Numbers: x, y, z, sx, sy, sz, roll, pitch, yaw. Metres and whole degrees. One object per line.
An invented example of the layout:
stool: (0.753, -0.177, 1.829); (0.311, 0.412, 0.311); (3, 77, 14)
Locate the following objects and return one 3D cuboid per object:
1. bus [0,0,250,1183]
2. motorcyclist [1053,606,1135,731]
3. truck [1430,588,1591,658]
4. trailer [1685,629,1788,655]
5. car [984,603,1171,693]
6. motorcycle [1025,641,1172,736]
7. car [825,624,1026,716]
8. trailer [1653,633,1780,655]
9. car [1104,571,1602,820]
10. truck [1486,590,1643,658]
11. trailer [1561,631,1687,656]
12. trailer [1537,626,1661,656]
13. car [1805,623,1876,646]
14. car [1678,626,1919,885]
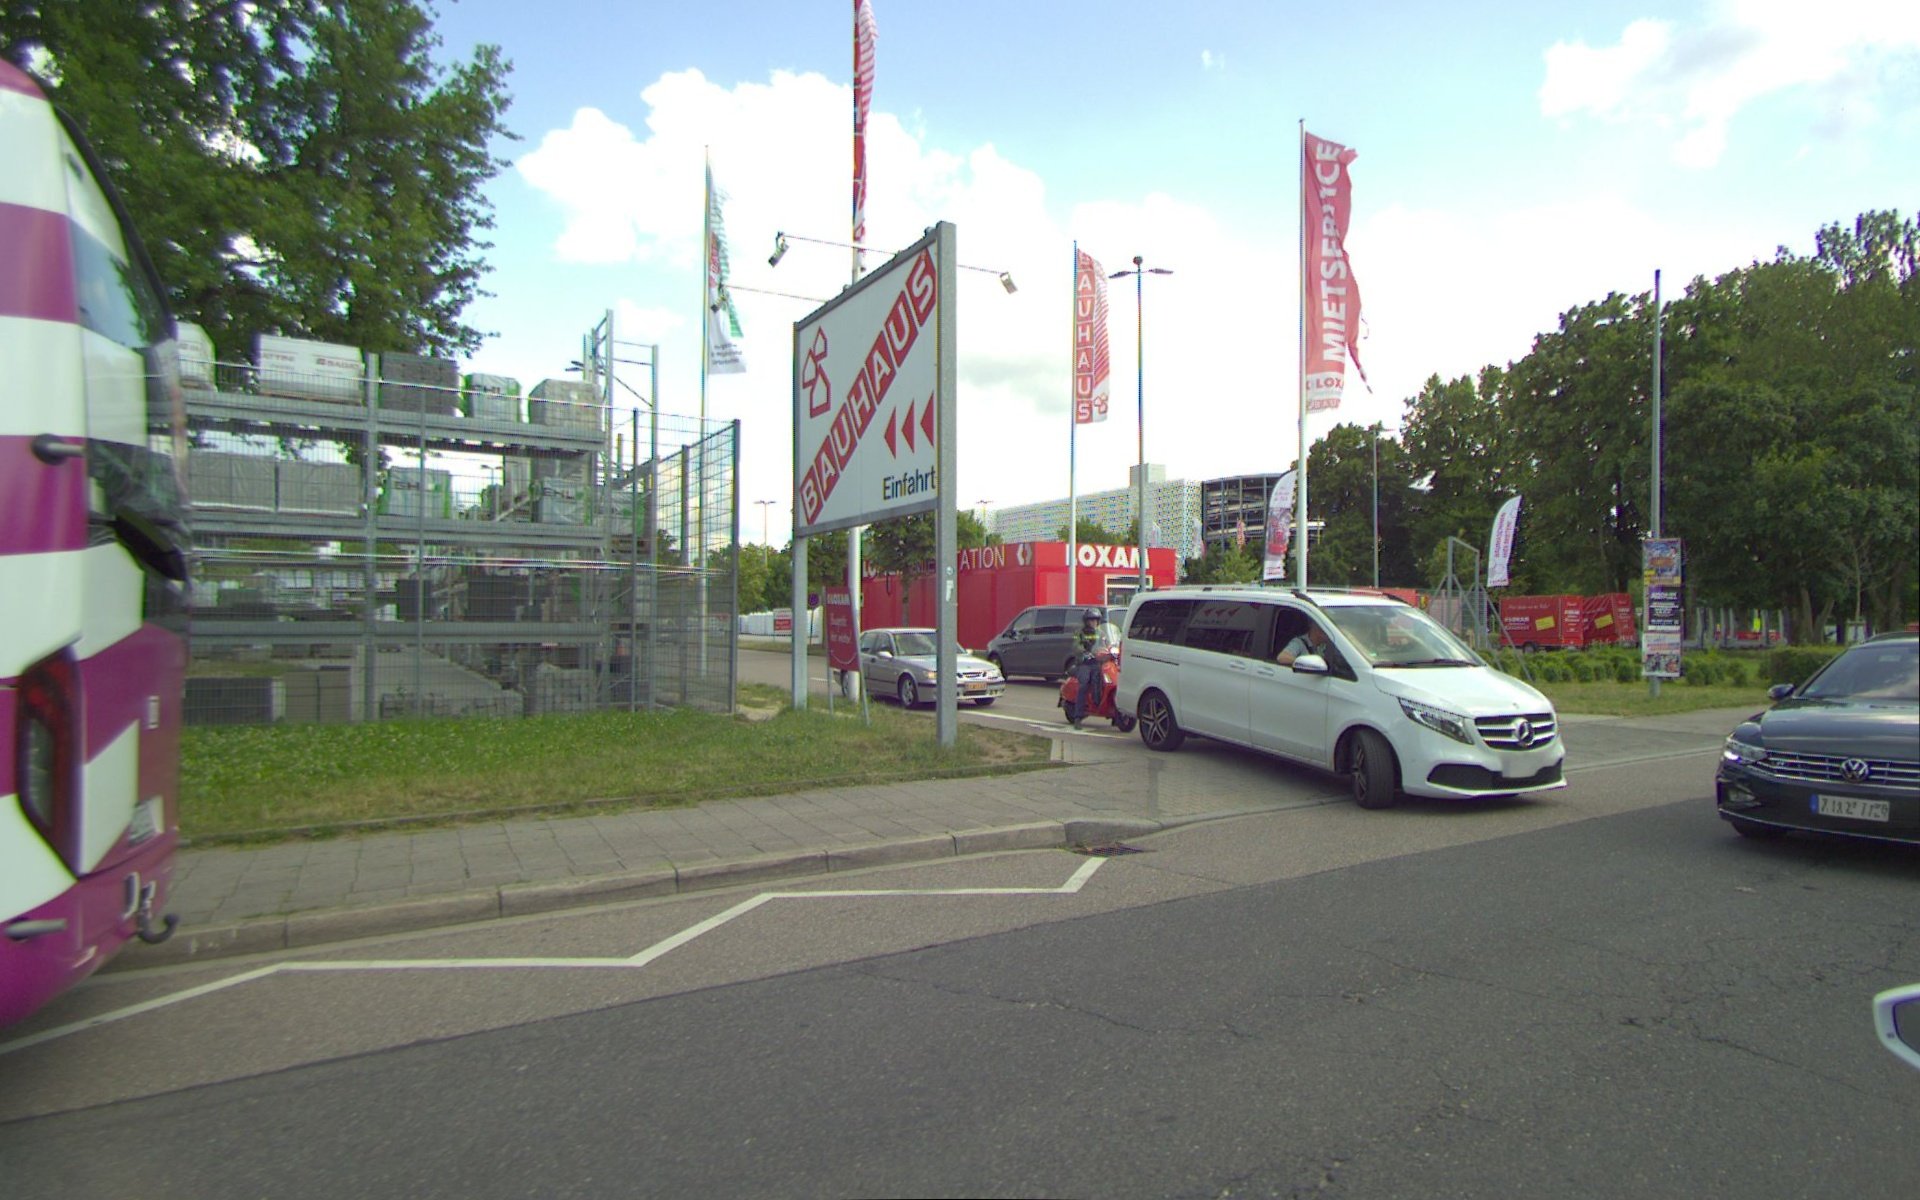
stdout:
bus: (-8.576, -0.199, 0.593); (13.067, 3.466, 2.651); (1, -5, -31)
motorcyclist: (1.953, 0.978, 14.643); (0.983, 1.745, 0.671); (1, -1, -30)
truck: (22.348, 0.943, 41.066); (1.793, 2.628, 5.731); (3, -2, -28)
trailer: (39.286, 2.080, 50.914); (1.691, 1.206, 3.807); (0, -1, -24)
car: (2.590, 1.041, 23.334); (2.085, 1.869, 4.523); (1, -1, -29)
motorcycle: (1.964, 1.235, 14.615); (0.982, 1.230, 2.211); (1, -2, -30)
car: (-0.813, 1.210, 19.074); (1.931, 1.473, 4.663); (1, -1, -29)
trailer: (37.162, 2.145, 49.484); (2.158, 0.925, 4.581); (0, -1, -25)
car: (3.712, 0.798, 10.653); (1.965, 1.975, 4.986); (1, -1, -25)
truck: (25.290, 1.007, 42.273); (1.758, 2.628, 5.522); (3, -2, -30)
trailer: (29.411, 1.917, 44.593); (2.136, 0.925, 4.211); (3, -2, -32)
trailer: (27.436, 1.746, 43.247); (1.654, 1.135, 4.211); (3, -2, -32)
car: (91.335, 3.552, 104.259); (1.779, 2.240, 5.254); (2, -2, -33)
car: (7.173, 0.921, 7.147); (4.334, 1.478, 1.787); (1, -2, -31)
